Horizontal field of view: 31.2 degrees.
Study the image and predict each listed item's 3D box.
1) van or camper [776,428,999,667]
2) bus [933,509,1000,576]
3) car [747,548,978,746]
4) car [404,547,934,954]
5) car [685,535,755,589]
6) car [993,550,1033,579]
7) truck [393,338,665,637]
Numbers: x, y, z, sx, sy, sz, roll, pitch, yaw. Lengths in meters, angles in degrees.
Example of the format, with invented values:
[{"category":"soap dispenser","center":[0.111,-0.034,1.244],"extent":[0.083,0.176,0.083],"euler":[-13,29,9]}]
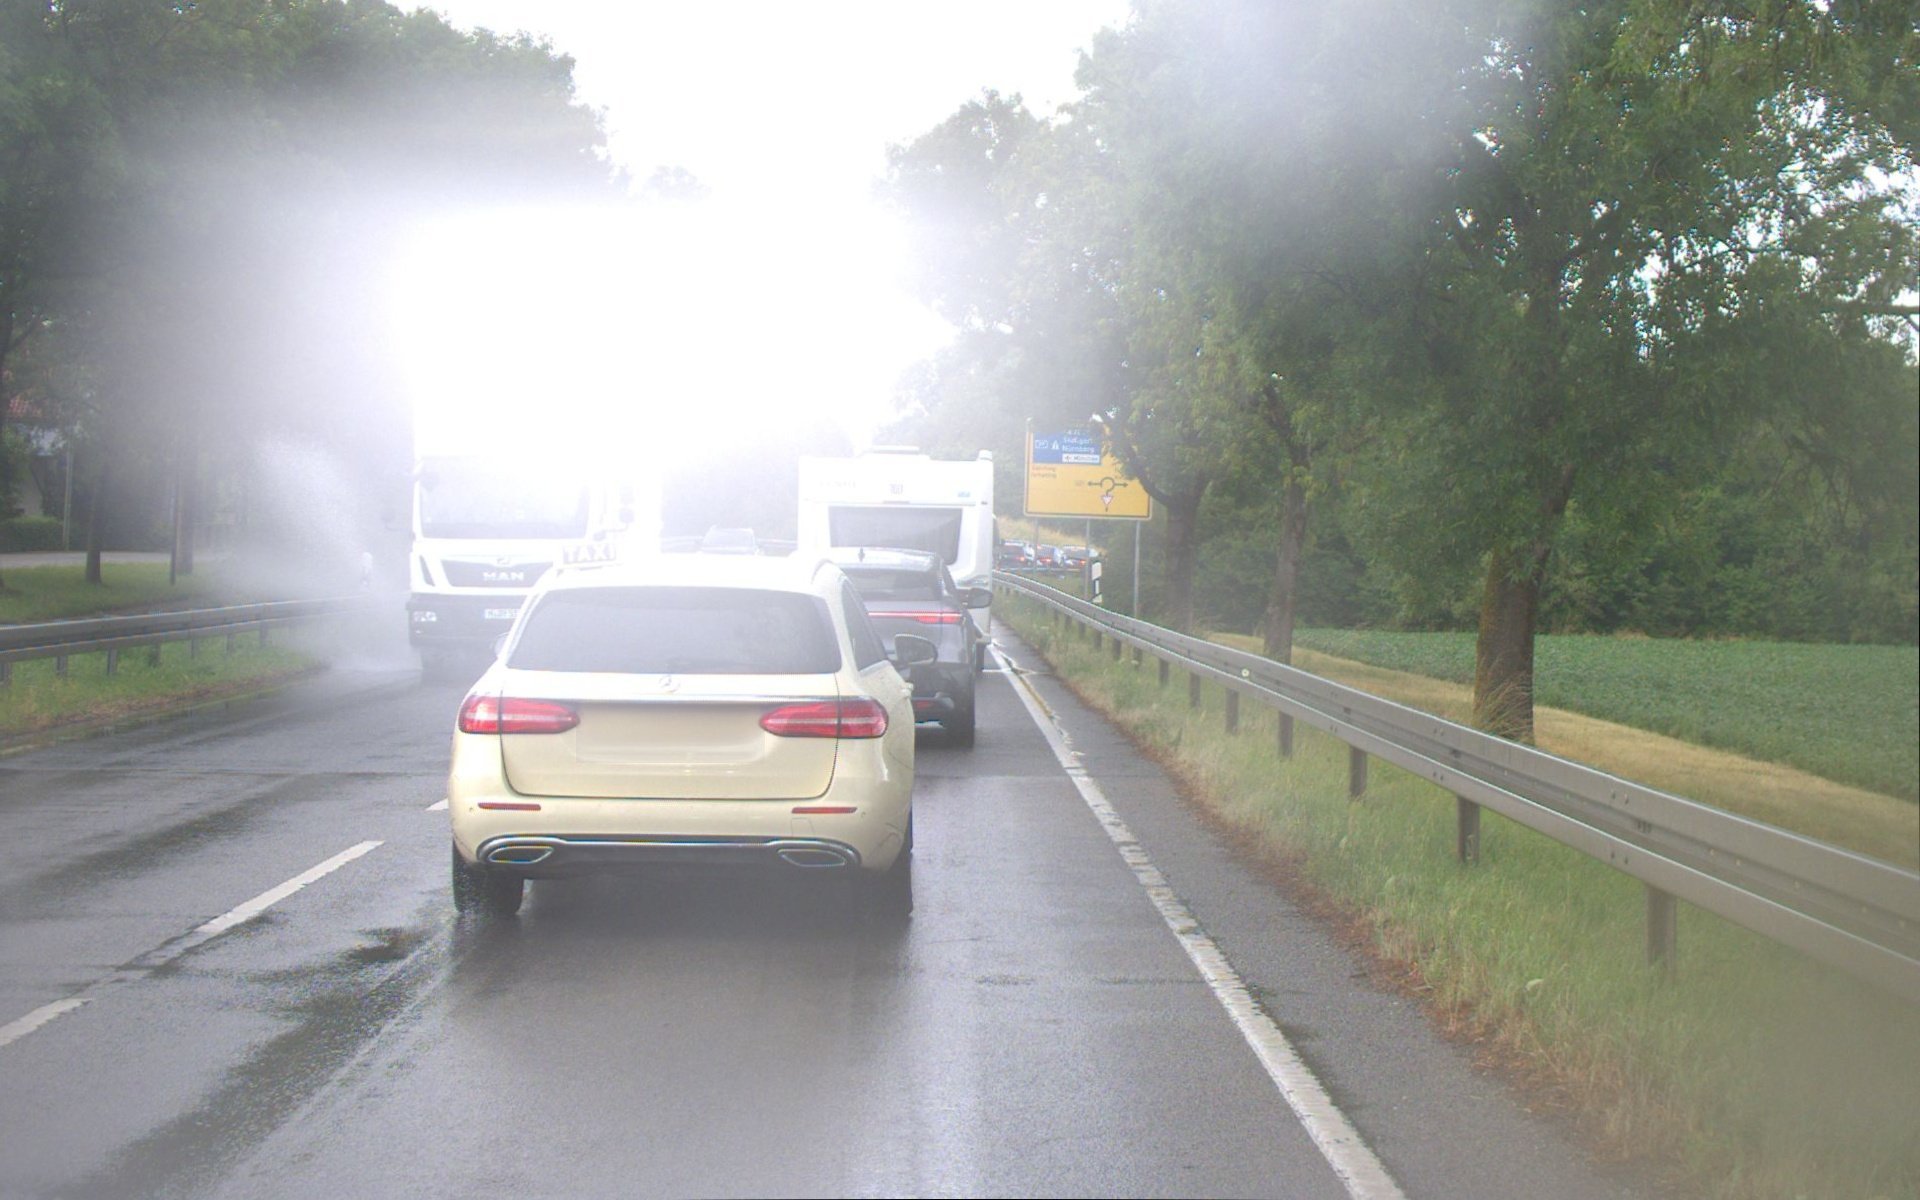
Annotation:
[{"category":"van or camper","center":[-0.798,-0.655,42.096],"extent":[2.489,2.676,5.700],"euler":[1,1,1]},{"category":"bus","center":[0.180,-1.770,104.933],"extent":[1.993,2.007,4.000],"euler":[0,1,-1]},{"category":"car","center":[-0.704,0.311,27.168],"extent":[1.664,1.426,4.000],"euler":[0,1,1]},{"category":"car","center":[-1.086,0.521,14.624],"extent":[1.865,1.471,4.000],"euler":[0,1,1]},{"category":"car","center":[-6.644,-1.070,95.601],"extent":[1.714,1.446,4.111],"euler":[1,1,-1]},{"category":"car","center":[2.118,-1.441,138.557],"extent":[1.551,1.114,4.000],"euler":[1,1,0]},{"category":"truck","center":[-5.390,-1.392,44.466],"extent":[2.576,3.440,9.557],"euler":[0,1,-2]}]
